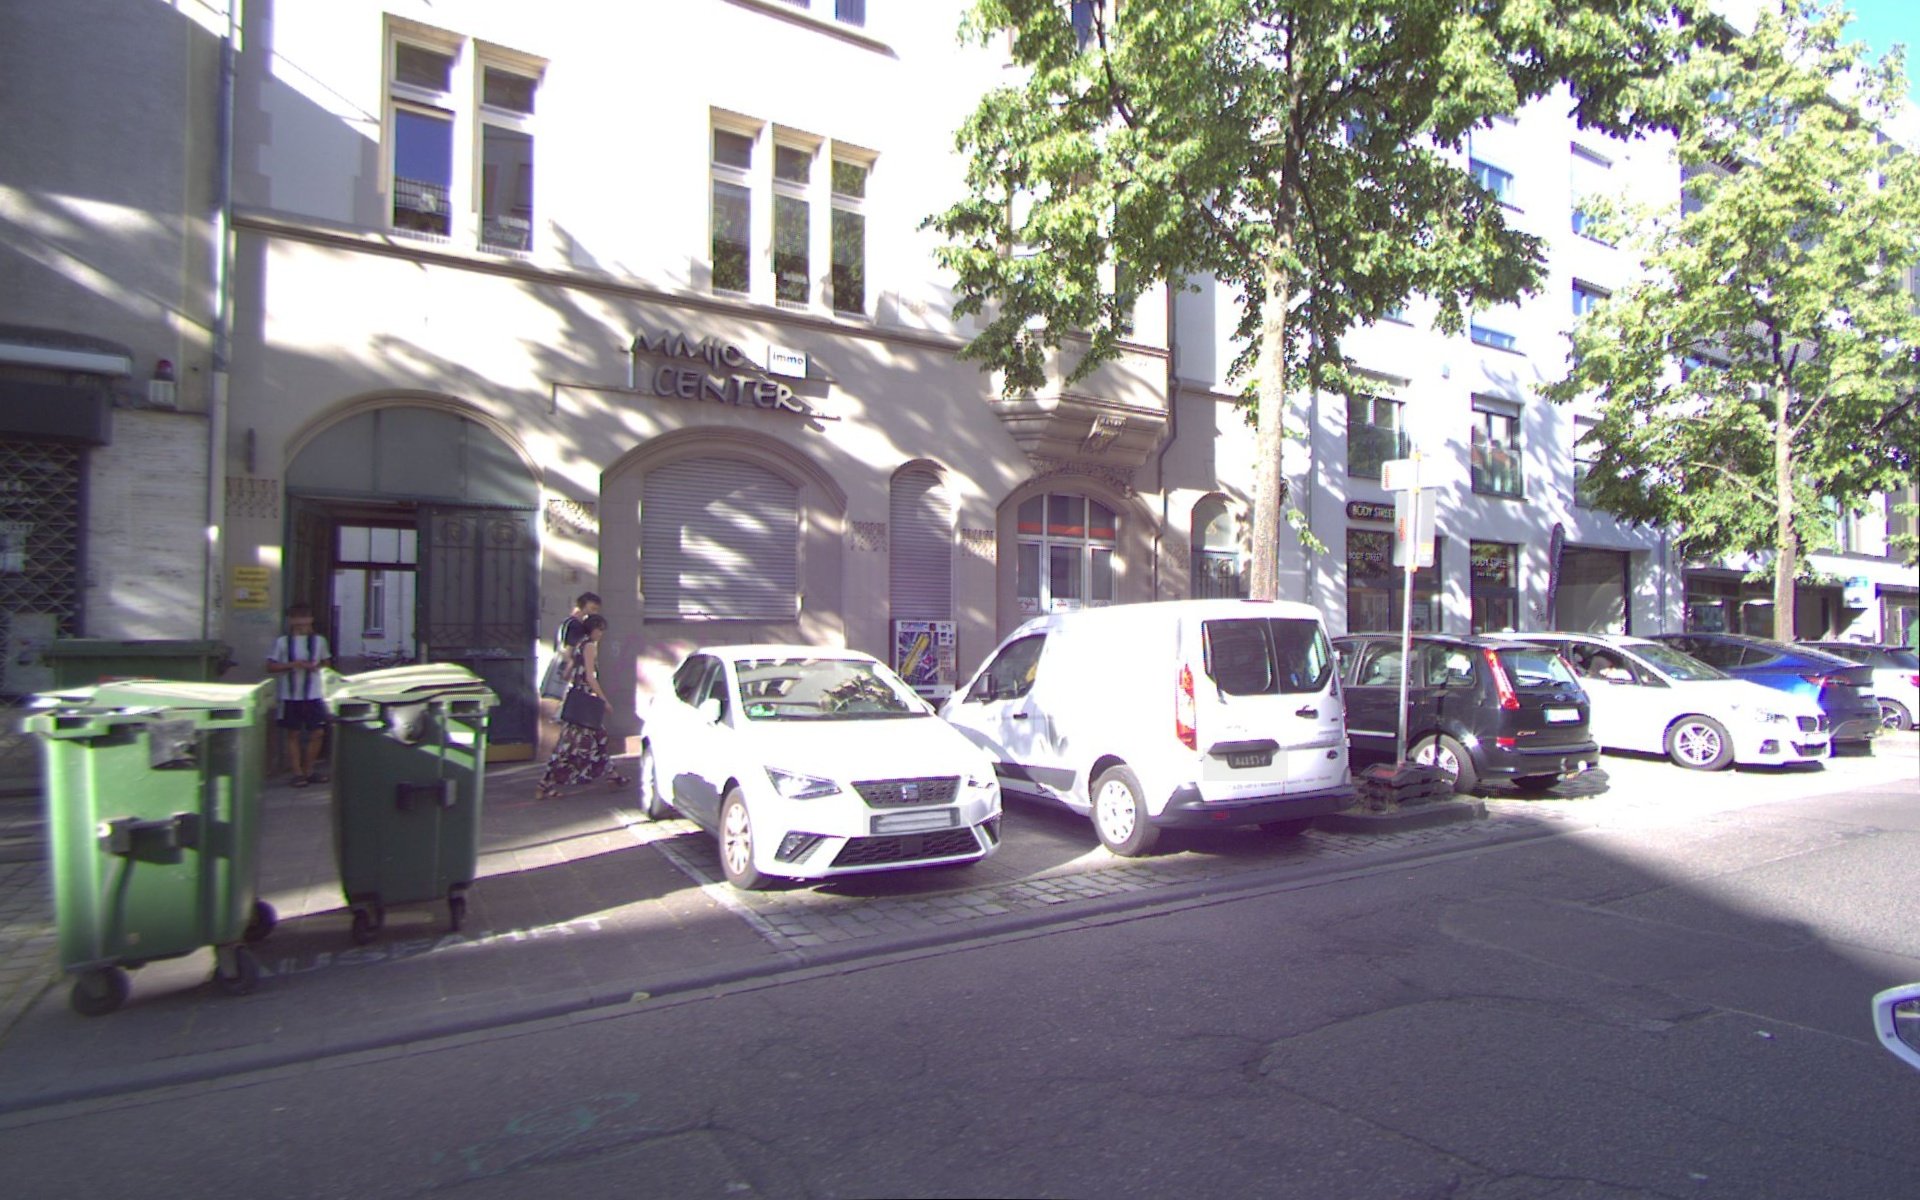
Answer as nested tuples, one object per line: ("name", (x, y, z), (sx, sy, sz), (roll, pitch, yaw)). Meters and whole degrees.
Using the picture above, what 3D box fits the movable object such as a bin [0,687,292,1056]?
("movable object such as a bin", (-3.580, 1.085, 4.529), (0.860, 1.319, 1.231), (1, -3, -31))

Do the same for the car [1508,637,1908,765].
("car", (10.804, 1.351, 14.889), (1.956, 1.591, 4.347), (1, -3, -29))

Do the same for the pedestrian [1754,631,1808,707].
("pedestrian", (20.057, 1.671, 24.543), (0.733, 1.821, 0.699), (0, -2, -19))

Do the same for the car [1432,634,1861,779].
("car", (8.876, 1.264, 13.440), (1.923, 1.591, 4.347), (1, -3, -29))

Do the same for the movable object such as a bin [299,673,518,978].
("movable object such as a bin", (-2.973, 1.098, 5.427), (0.921, 1.363, 1.186), (1, -2, -31))

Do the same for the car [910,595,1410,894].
("car", (1.381, 0.966, 8.546), (2.014, 1.860, 4.087), (1, -2, -29))

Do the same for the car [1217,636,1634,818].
("car", (4.771, 1.188, 10.851), (1.770, 1.578, 3.783), (1, -2, -29))

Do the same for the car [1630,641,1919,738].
("car", (14.511, 1.458, 17.570), (1.959, 1.478, 4.221), (1, -3, -33))

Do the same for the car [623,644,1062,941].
("car", (-1.142, 1.095, 7.437), (1.864, 1.483, 3.962), (1, -2, -29))

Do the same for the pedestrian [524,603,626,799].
("pedestrian", (-3.775, 0.943, 9.823), (0.755, 1.790, 0.770), (1, 1, -32))

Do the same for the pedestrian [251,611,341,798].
("pedestrian", (-6.260, 0.963, 9.495), (0.631, 1.694, 0.432), (1, -2, -28))

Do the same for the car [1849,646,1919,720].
("car", (20.599, 1.680, 20.225), (1.764, 1.478, 3.753), (1, -3, -37))

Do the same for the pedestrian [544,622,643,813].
("pedestrian", (-3.362, 1.040, 9.203), (0.719, 1.648, 0.562), (1, 1, -32))

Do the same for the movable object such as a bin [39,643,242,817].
("movable object such as a bin", (-7.166, 1.093, 8.868), (1.211, 1.416, 0.818), (1, -2, -28))
